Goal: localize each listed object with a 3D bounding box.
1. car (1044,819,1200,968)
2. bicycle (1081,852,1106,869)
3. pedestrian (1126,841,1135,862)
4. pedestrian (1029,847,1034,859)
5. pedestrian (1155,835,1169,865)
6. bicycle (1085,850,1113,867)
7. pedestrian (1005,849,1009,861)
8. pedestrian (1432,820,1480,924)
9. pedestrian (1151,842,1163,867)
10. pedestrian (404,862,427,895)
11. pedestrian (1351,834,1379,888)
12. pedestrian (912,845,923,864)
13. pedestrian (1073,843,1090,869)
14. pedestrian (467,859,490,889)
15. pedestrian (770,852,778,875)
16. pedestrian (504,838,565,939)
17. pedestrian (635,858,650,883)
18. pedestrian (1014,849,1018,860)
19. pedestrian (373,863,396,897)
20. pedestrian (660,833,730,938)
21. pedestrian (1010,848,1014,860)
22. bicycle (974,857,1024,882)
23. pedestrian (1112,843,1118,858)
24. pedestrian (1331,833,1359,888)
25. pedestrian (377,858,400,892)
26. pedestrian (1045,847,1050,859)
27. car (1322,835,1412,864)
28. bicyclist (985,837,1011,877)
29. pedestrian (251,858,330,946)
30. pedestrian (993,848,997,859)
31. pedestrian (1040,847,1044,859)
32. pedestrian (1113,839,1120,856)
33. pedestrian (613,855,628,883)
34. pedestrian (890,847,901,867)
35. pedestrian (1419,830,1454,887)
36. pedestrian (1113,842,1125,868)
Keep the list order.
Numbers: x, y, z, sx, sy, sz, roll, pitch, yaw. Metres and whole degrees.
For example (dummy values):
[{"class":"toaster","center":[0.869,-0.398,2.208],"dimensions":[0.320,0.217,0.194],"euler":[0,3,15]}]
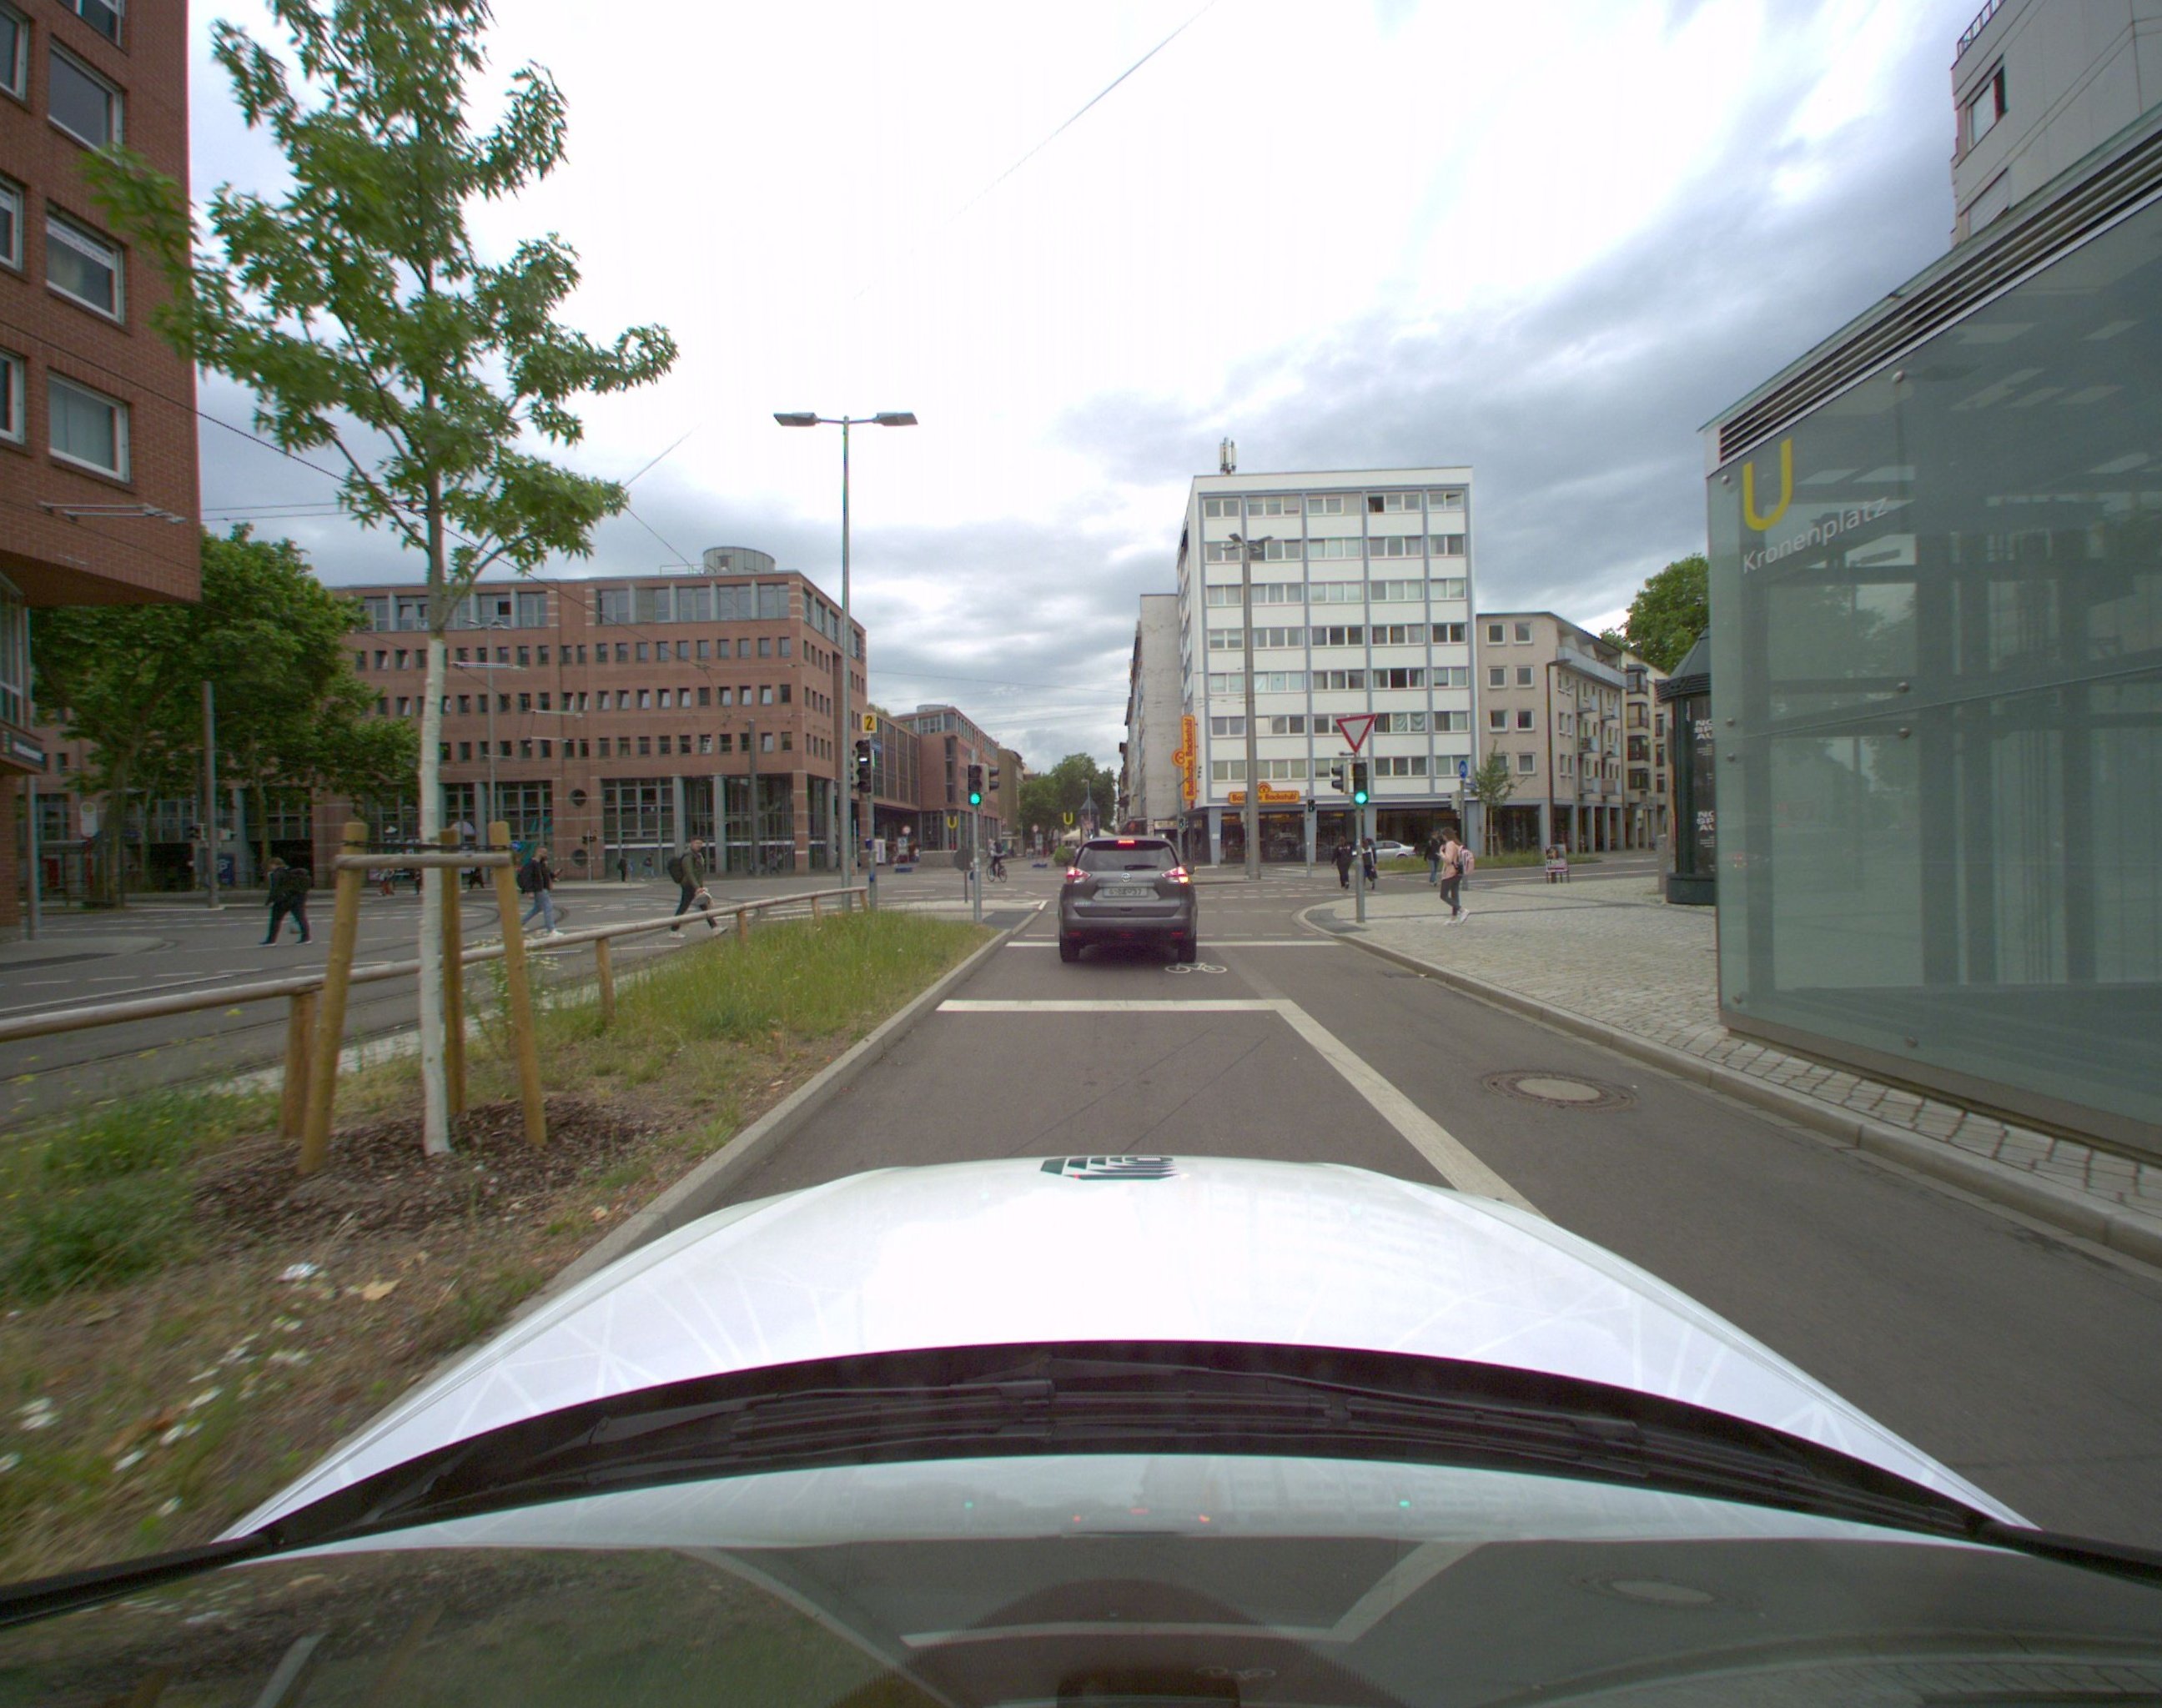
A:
[{"class":"car","center":[0.606,0.496,12.268],"dimensions":[1.856,1.775,4.570],"euler":[-2,0,3]},{"class":"bicycle","center":[0.890,0.426,56.792],"dimensions":[1.697,1.171,0.435],"euler":[-1,0,-13]},{"class":"pedestrian","center":[4.361,-0.243,71.803],"dimensions":[0.735,1.821,0.662],"euler":[-2,0,0]},{"class":"pedestrian","center":[-6.163,-0.102,102.167],"dimensions":[0.599,1.536,0.654],"euler":[-1,0,-5]},{"class":"pedestrian","center":[4.949,-0.238,49.829],"dimensions":[0.712,1.832,1.015],"euler":[-1,0,-6]},{"class":"bicycle","center":[1.241,0.310,56.341],"dimensions":[1.869,1.171,0.529],"euler":[-1,0,-13]},{"class":"pedestrian","center":[-10.705,0.138,117.653],"dimensions":[0.599,1.714,0.654],"euler":[-1,0,-5]},{"class":"pedestrian","center":[6.516,0.301,14.182],"dimensions":[0.522,1.761,0.600],"euler":[-1,0,-6]},{"class":"pedestrian","center":[5.164,0.020,55.491],"dimensions":[0.705,1.705,0.737],"euler":[0,0,14]},{"class":"pedestrian","center":[-31.607,1.167,38.676],"dimensions":[0.571,1.574,0.628],"euler":[0,-1,-6]},{"class":"pedestrian","center":[9.433,0.215,27.055],"dimensions":[0.620,1.761,0.778],"euler":[-1,0,-6]},{"class":"pedestrian","center":[-16.296,0.040,81.112],"dimensions":[0.694,1.841,0.738],"euler":[0,0,21]},{"class":"pedestrian","center":[0.026,0.128,55.315],"dimensions":[0.918,1.705,0.738],"euler":[0,0,21]},{"class":"pedestrian","center":[-30.993,1.032,41.913],"dimensions":[0.569,1.560,0.745],"euler":[-1,-1,7]},{"class":"pedestrian","center":[-20.912,0.632,55.478],"dimensions":[0.450,1.532,0.519],"euler":[-1,0,-16]},{"class":"pedestrian","center":[-10.514,0.652,15.700],"dimensions":[0.608,1.890,0.799],"euler":[-1,-1,0]},{"class":"pedestrian","center":[-28.169,1.053,52.343],"dimensions":[0.743,1.560,0.571],"euler":[0,-1,-17]},{"class":"pedestrian","center":[-10.275,0.021,128.028],"dimensions":[0.599,1.714,0.654],"euler":[-1,0,-5]},{"class":"pedestrian","center":[-33.064,1.228,38.669],"dimensions":[0.571,1.612,0.628],"euler":[0,-1,-6]},{"class":"pedestrian","center":[-7.097,0.565,15.013],"dimensions":[0.894,1.890,0.799],"euler":[0,-1,0]},{"class":"pedestrian","center":[-9.767,-0.027,115.013],"dimensions":[0.599,1.714,0.654],"euler":[-1,0,-5]},{"class":"bicycle","center":[-3.750,0.676,36.743],"dimensions":[0.908,1.044,3.244],"euler":[-1,0,-32]},{"class":"pedestrian","center":[3.913,-0.404,93.541],"dimensions":[0.609,1.705,0.620],"euler":[0,0,3]},{"class":"pedestrian","center":[8.689,0.212,26.853],"dimensions":[0.620,1.761,0.778],"euler":[-1,0,-6]},{"class":"pedestrian","center":[-33.486,1.022,39.393],"dimensions":[0.571,1.612,0.628],"euler":[0,-1,-6]},{"class":"pedestrian","center":[-4.924,-0.124,119.107],"dimensions":[0.599,1.714,0.654],"euler":[-1,0,-5]},{"class":"car","center":[16.501,-0.236,47.096],"dimensions":[4.538,1.481,1.748],"euler":[-2,0,-1]},{"class":"bicyclist","center":[-3.726,0.127,36.693],"dimensions":[0.840,1.812,0.868],"euler":[-1,0,-33]},{"class":"pedestrian","center":[-15.535,0.917,16.020],"dimensions":[0.742,1.684,0.798],"euler":[0,-1,-2]},{"class":"pedestrian","center":[-13.168,-0.033,125.338],"dimensions":[0.599,1.714,0.654],"euler":[-1,0,-5]},{"class":"pedestrian","center":[-5.727,-0.099,118.978],"dimensions":[0.599,1.714,0.654],"euler":[-1,0,-5]},{"class":"pedestrian","center":[3.467,-0.635,79.005],"dimensions":[0.640,1.705,0.559],"euler":[0,0,3]},{"class":"pedestrian","center":[-28.971,0.943,51.212],"dimensions":[0.745,1.688,0.569],"euler":[0,-1,-24]},{"class":"pedestrian","center":[-17.368,0.266,76.203],"dimensions":[0.738,1.841,0.694],"euler":[-1,0,-38]},{"class":"pedestrian","center":[12.194,0.141,27.960],"dimensions":[0.797,1.862,1.157],"euler":[-3,0,12]},{"class":"pedestrian","center":[2.591,0.045,55.917],"dimensions":[0.731,1.745,0.662],"euler":[-1,0,-6]}]
